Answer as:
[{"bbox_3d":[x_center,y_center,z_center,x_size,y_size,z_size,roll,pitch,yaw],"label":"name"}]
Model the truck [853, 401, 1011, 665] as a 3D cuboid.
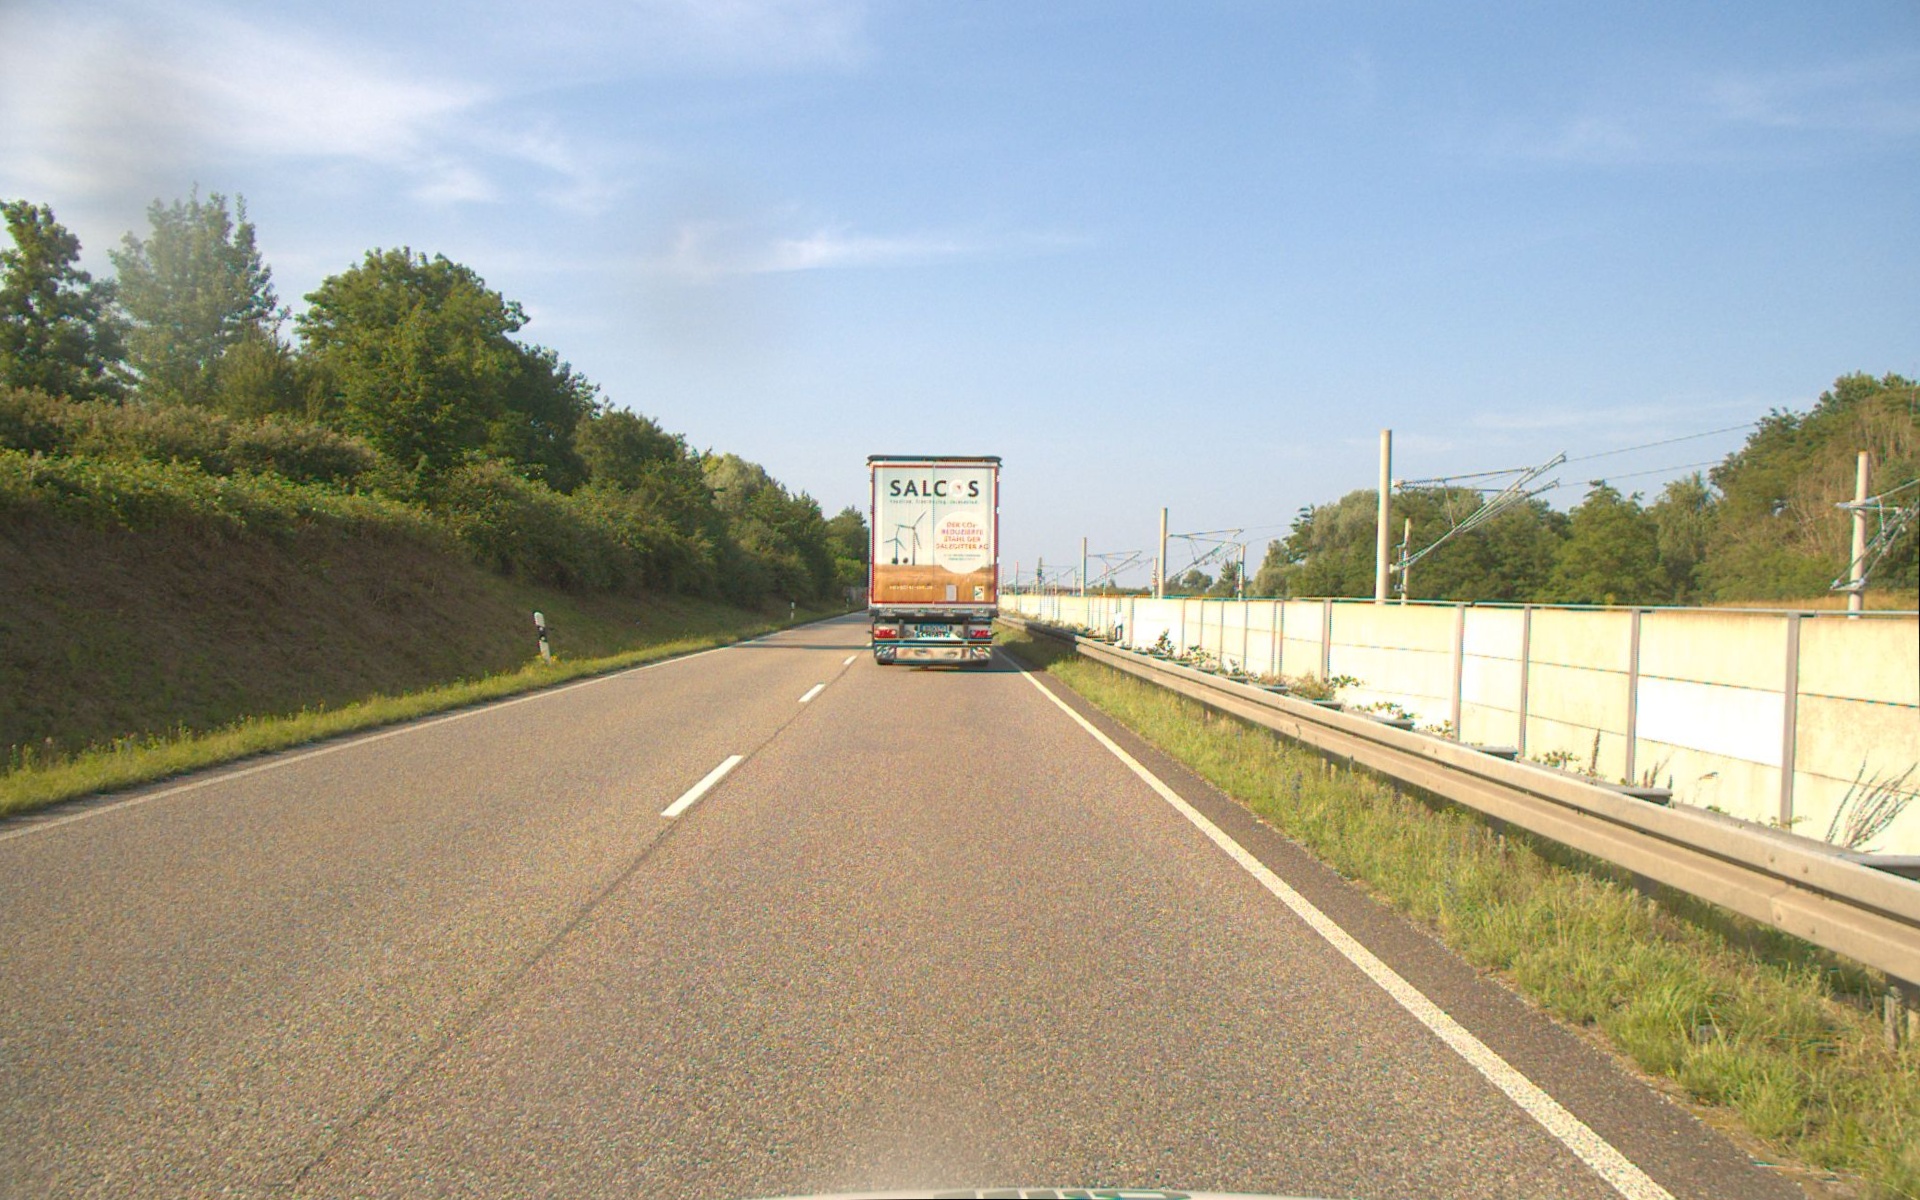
[{"bbox_3d":[-0.751,-1.312,37.562,2.972,5.006,11.679,1,0,-2],"label":"truck"}]
